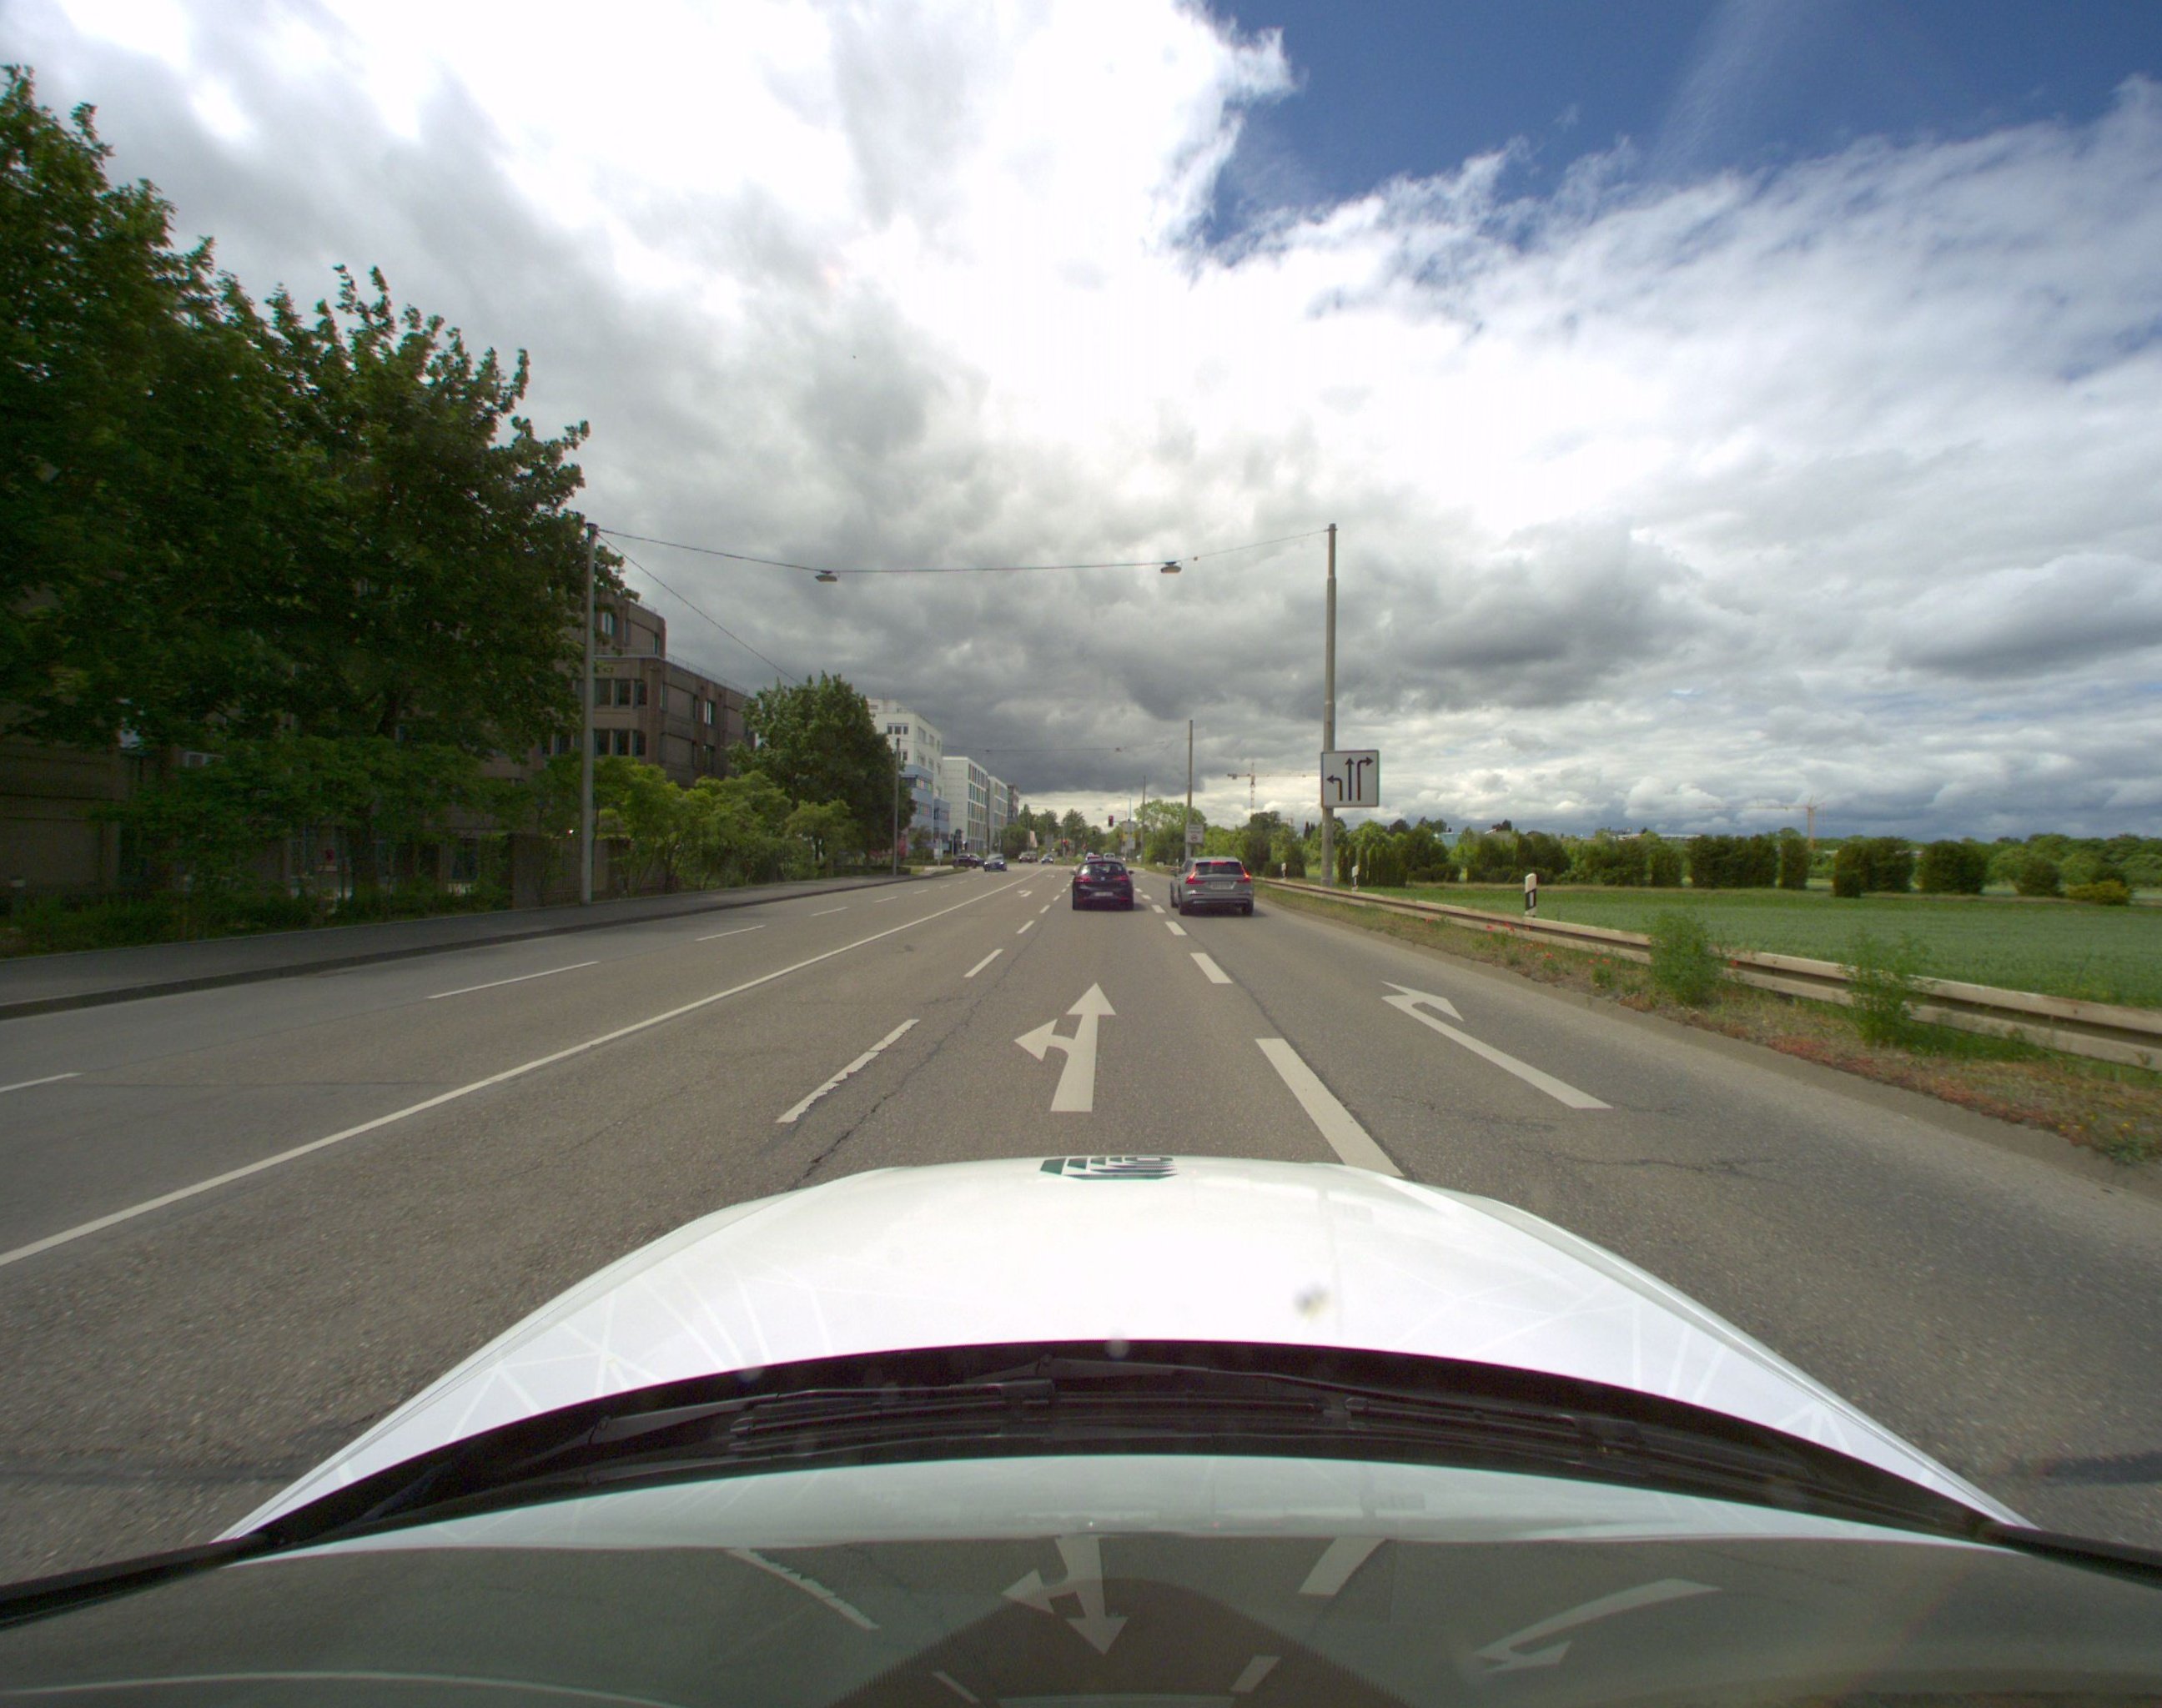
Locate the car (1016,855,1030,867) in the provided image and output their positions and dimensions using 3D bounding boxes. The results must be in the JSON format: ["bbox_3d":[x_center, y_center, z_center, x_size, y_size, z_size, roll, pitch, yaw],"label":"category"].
[{"bbox_3d":[-8.676,1.025,121.946,1.746,1.631,3.999,-1,0,-1],"label":"car"}]

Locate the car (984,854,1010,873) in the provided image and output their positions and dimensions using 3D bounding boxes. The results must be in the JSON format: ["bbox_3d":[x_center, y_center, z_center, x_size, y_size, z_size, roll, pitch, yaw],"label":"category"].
[{"bbox_3d":[-7.559,0.838,73.347,1.790,1.585,4.312,4,-1,0],"label":"car"}]

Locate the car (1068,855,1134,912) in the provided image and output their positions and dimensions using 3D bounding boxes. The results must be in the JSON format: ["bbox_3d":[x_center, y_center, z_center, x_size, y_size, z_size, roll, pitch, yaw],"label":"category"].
[{"bbox_3d":[0.646,0.819,23.974,1.740,1.484,4.003,1,-1,3],"label":"car"}]

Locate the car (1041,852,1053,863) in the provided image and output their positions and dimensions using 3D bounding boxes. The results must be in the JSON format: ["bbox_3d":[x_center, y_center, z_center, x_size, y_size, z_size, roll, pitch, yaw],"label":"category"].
[{"bbox_3d":[-5.045,0.533,120.863,1.663,1.524,4.007,-1,1,-1],"label":"car"}]

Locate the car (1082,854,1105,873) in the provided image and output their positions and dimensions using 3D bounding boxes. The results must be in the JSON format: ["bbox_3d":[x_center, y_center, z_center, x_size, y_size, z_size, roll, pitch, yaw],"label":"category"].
[{"bbox_3d":[1.101,0.832,74.945,1.978,1.590,4.224,1,1,-1],"label":"car"}]

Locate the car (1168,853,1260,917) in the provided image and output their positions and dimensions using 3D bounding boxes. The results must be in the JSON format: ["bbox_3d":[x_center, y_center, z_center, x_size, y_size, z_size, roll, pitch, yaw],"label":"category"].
[{"bbox_3d":[3.457,0.775,21.895,1.950,1.525,4.343,-1,-1,3],"label":"car"}]

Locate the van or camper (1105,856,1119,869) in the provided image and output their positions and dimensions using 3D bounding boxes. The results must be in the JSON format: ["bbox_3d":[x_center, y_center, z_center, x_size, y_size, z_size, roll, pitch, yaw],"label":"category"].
[{"bbox_3d":[5.085,1.392,133.018,1.895,1.925,3.996,2,0,-3],"label":"van or camper"}]
